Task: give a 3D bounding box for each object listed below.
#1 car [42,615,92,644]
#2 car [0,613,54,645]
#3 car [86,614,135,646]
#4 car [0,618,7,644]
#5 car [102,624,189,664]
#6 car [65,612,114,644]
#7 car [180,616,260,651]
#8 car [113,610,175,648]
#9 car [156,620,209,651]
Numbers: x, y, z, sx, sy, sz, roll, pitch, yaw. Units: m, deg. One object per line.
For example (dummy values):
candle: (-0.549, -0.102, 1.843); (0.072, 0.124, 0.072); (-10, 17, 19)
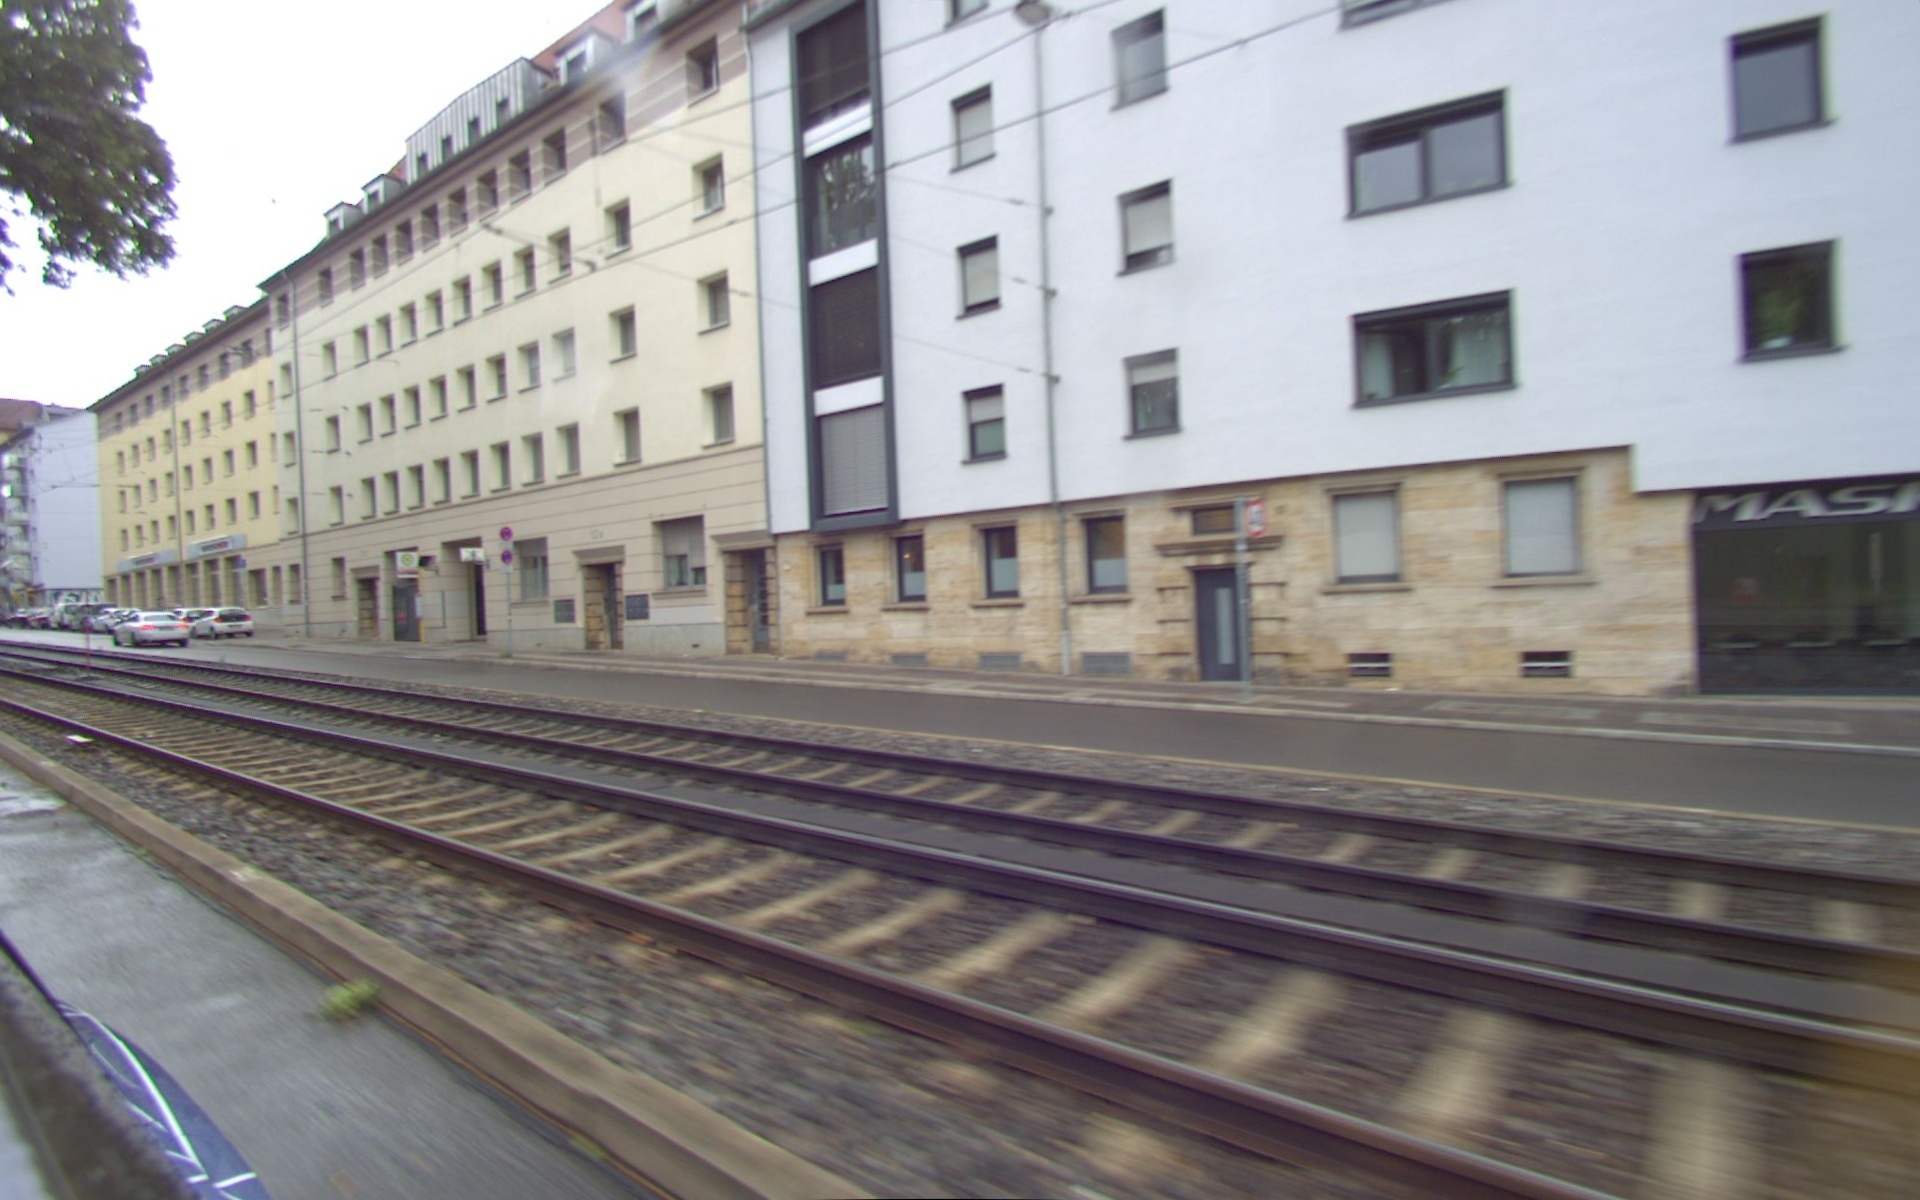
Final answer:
car: (-57.812, 1.891, 65.512); (3.584, 1.822, 1.707); (0, 0, 36)
car: (-62.781, 1.923, 67.969); (4.218, 2.029, 2.007); (0, 0, 36)
car: (-49.249, 1.726, 58.657); (3.399, 1.766, 1.361); (0, 0, 36)
car: (-77.491, 2.477, 80.247); (4.218, 2.029, 2.007); (0, 0, 36)
car: (-34.072, 1.802, 42.286); (5.008, 1.548, 1.671); (-1, -1, 37)
car: (-52.844, 1.659, 61.436); (4.036, 1.897, 1.538); (0, 0, 39)
car: (-35.586, 1.581, 48.639); (3.991, 1.554, 2.007); (0, 0, 36)
car: (-44.803, 1.556, 55.547); (4.293, 1.975, 1.708); (0, 0, 38)
car: (-39.447, 1.755, 51.333); (3.184, 1.495, 1.311); (0, 0, 36)
